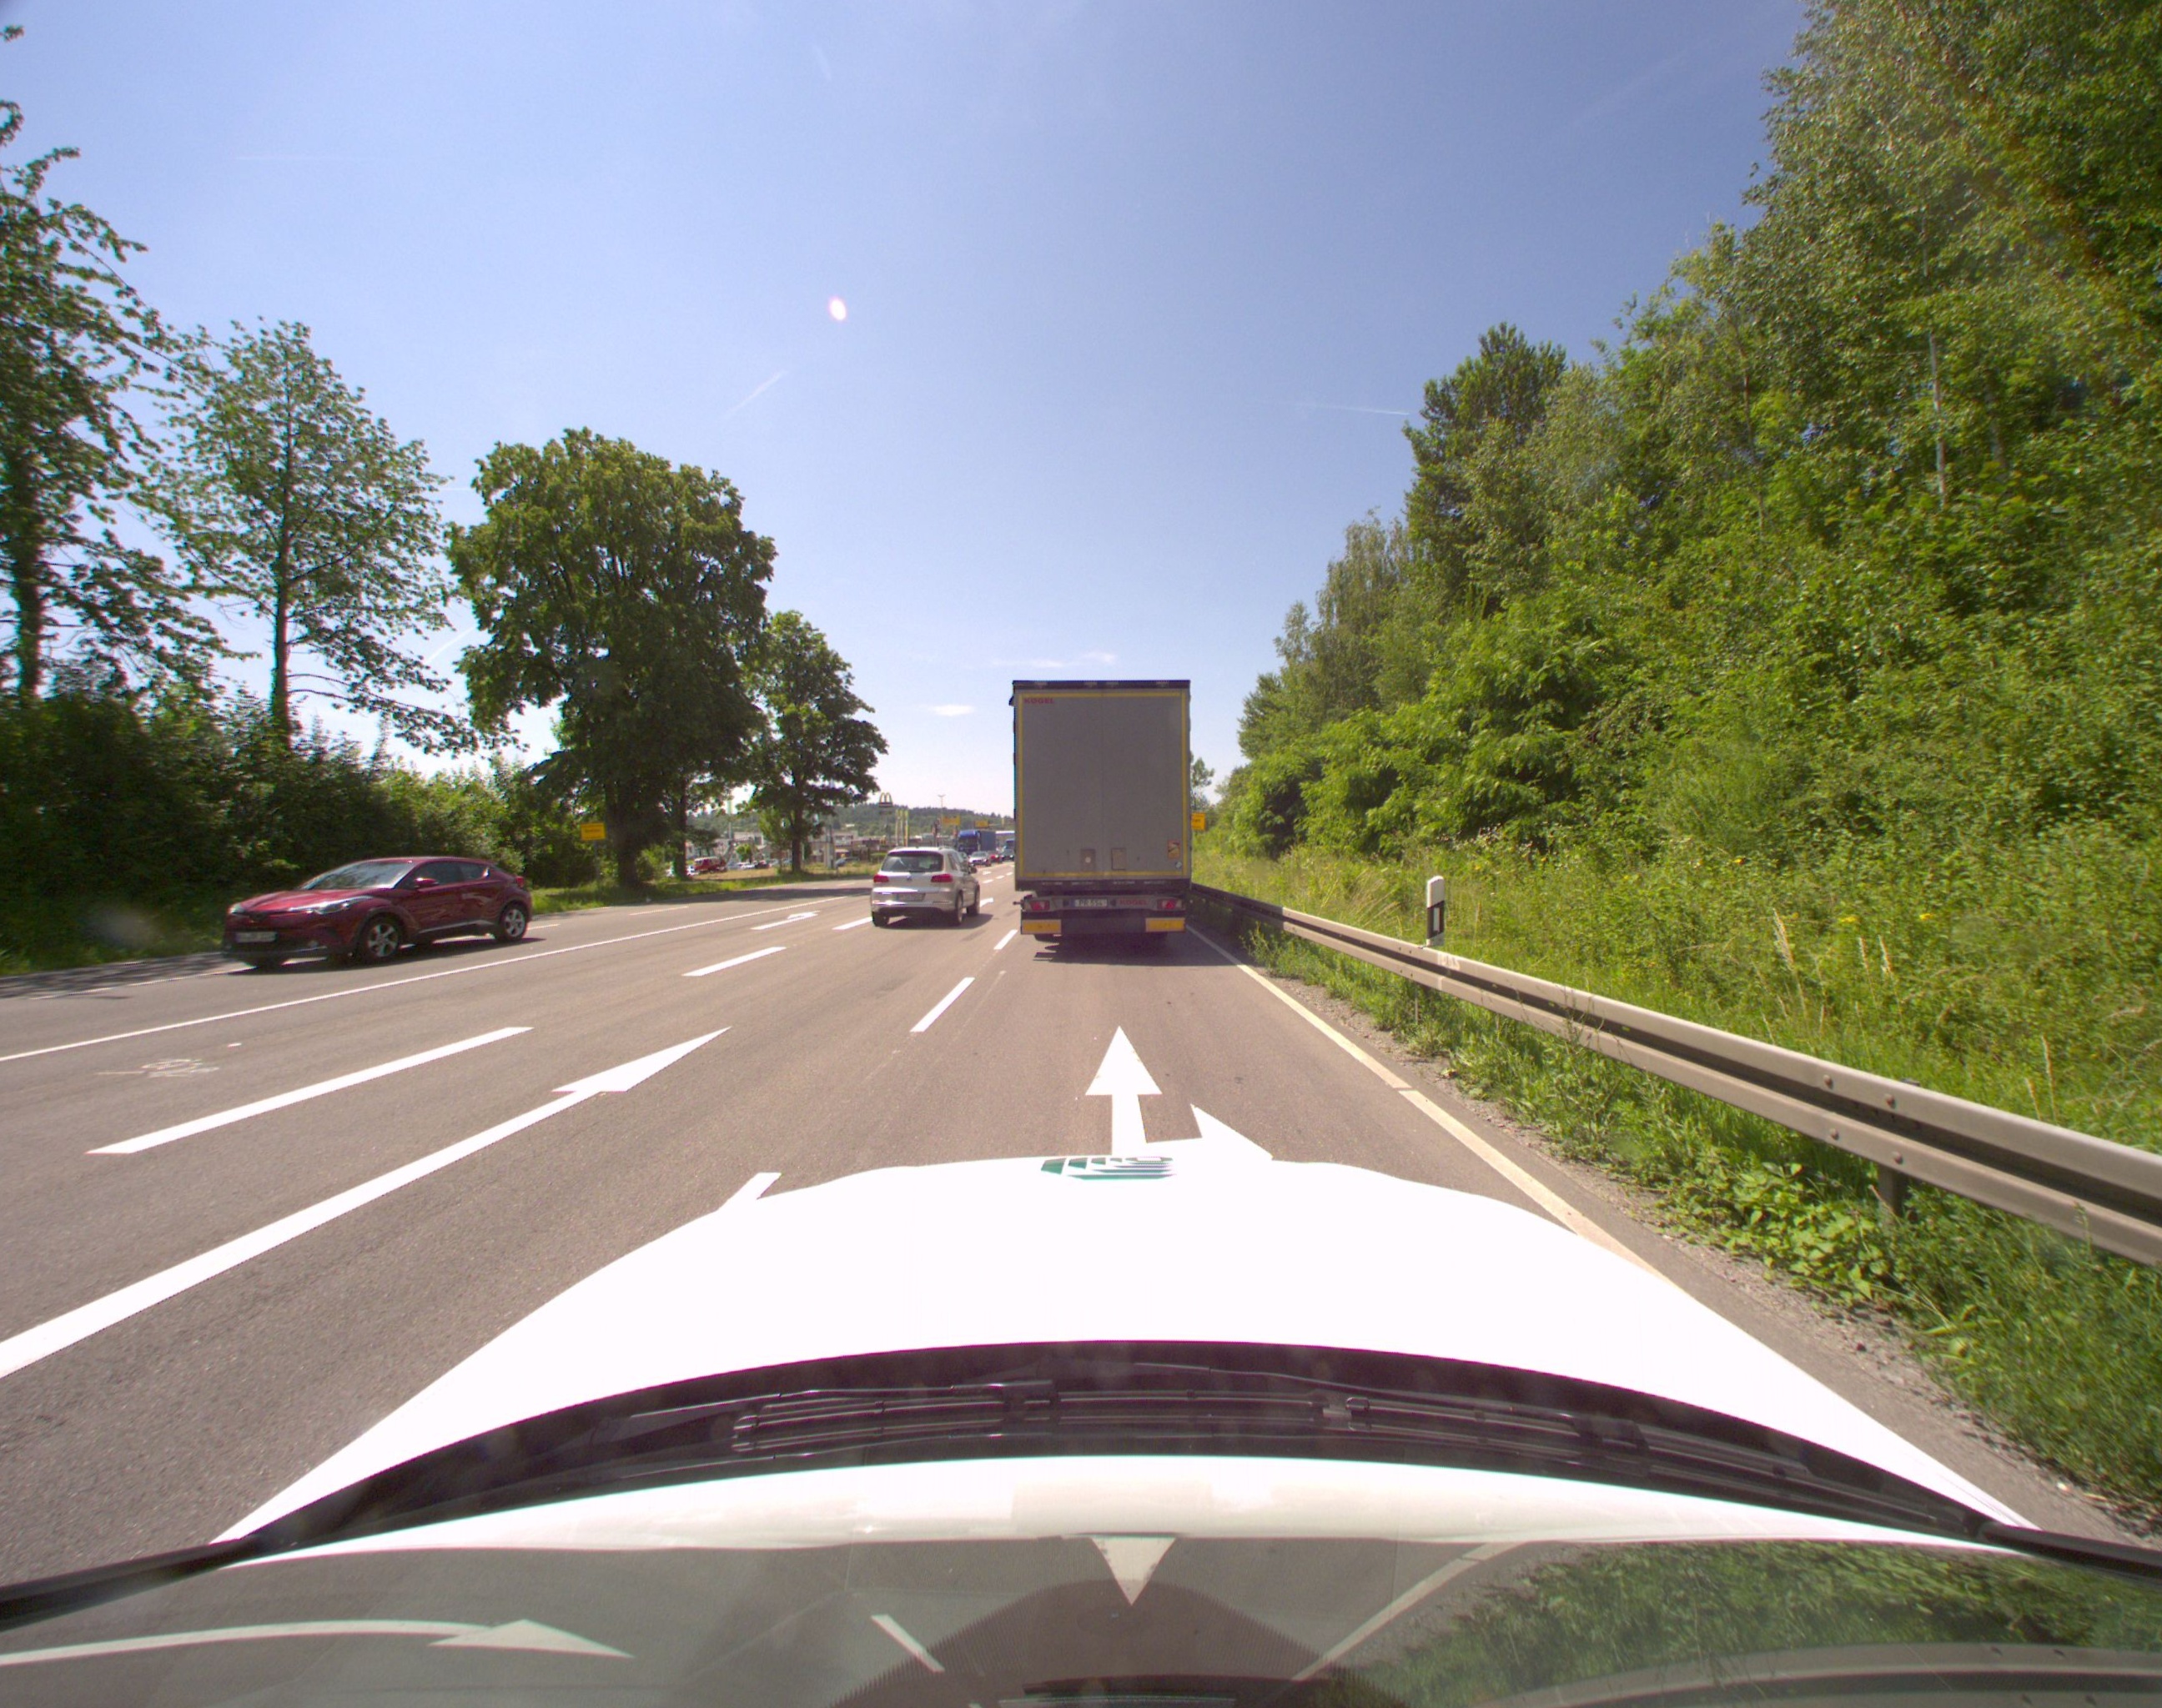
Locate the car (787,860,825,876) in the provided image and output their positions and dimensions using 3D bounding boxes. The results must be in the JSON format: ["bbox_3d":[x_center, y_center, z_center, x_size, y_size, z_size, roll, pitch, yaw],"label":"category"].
[{"bbox_3d":[-28.738,1.414,85.043,3.948,1.618,1.852,-1,0,38],"label":"car"}]

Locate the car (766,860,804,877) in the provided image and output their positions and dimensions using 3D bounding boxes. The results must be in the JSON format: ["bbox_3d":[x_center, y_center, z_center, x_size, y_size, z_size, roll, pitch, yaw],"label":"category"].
[{"bbox_3d":[-30.234,1.456,83.083,3.948,1.618,1.852,-1,0,38],"label":"car"}]

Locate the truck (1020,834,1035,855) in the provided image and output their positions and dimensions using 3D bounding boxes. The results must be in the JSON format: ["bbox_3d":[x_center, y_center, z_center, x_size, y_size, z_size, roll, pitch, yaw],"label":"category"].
[{"bbox_3d":[-11.843,-1.962,178.921,3.141,4.349,17.512,-1,0,-5],"label":"truck"}]

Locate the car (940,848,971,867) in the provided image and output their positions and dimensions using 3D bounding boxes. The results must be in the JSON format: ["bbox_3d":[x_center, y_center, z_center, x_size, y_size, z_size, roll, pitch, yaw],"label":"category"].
[{"bbox_3d":[-9.671,0.295,63.155,1.761,1.386,3.999,0,-1,0],"label":"car"}]

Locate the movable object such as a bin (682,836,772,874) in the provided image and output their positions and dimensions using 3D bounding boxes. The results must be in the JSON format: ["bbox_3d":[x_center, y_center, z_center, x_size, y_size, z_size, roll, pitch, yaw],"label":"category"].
[{"bbox_3d":[-31.987,0.040,73.772,3.013,3.298,6.835,-1,1,41],"label":"movable object such as a bin"}]

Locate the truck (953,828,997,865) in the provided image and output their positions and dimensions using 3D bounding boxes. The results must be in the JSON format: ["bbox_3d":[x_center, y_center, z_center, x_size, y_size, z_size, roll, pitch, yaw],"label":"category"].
[{"bbox_3d":[-13.013,-0.843,101.643,2.958,4.176,16.576,-1,0,1],"label":"truck"}]

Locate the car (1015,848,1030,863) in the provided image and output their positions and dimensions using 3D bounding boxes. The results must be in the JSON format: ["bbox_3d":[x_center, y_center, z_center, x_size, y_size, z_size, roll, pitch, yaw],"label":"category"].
[{"bbox_3d":[-8.354,0.213,116.524,1.766,2.013,4.002,-1,0,2],"label":"car"}]

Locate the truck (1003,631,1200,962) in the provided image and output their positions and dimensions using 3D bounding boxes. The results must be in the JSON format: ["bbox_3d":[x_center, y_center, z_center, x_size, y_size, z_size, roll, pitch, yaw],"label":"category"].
[{"bbox_3d":[0.561,-0.728,19.736,2.745,4.639,16.661,0,-1,2],"label":"truck"}]

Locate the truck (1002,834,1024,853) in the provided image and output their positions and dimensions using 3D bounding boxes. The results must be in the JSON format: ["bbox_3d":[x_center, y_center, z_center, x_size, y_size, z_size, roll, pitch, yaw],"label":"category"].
[{"bbox_3d":[-12.014,-1.811,145.131,2.837,3.351,11.480,-1,0,0],"label":"truck"}]

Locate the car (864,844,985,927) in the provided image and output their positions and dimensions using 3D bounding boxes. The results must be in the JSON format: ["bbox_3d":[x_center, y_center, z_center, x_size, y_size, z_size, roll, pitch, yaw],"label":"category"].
[{"bbox_3d":[-3.402,0.626,18.505,1.798,1.670,4.293,0,0,2],"label":"car"}]

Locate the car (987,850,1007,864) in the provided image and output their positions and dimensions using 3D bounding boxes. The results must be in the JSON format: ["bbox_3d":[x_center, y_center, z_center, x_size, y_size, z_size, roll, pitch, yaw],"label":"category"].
[{"bbox_3d":[-9.276,0.347,90.103,1.635,1.438,4.019,-1,1,2],"label":"car"}]

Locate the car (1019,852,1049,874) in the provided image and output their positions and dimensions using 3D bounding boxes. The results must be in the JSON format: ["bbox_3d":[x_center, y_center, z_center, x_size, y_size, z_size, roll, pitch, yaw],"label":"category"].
[{"bbox_3d":[-3.200,0.592,55.962,1.680,1.398,4.404,-1,0,1],"label":"car"}]

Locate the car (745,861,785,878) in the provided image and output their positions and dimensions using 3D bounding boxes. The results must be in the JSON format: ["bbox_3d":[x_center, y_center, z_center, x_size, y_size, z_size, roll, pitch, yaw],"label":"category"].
[{"bbox_3d":[-31.537,1.566,81.246,3.948,1.651,2.013,-1,0,38],"label":"car"}]

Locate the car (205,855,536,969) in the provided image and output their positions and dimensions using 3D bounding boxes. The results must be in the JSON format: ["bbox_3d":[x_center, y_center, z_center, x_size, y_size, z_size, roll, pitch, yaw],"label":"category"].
[{"bbox_3d":[-10.898,0.792,12.931,1.896,1.508,3.765,-1,0,1],"label":"car"}]

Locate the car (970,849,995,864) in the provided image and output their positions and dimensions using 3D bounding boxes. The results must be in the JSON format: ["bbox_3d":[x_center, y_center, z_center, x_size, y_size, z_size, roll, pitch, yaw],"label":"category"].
[{"bbox_3d":[-9.216,0.265,76.424,1.761,1.386,3.999,0,-1,0],"label":"car"}]

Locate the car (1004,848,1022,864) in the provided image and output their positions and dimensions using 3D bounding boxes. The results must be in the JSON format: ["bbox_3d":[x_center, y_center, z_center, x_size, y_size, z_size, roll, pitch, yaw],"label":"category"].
[{"bbox_3d":[-8.602,0.215,102.679,1.766,2.013,4.002,-1,0,2],"label":"car"}]

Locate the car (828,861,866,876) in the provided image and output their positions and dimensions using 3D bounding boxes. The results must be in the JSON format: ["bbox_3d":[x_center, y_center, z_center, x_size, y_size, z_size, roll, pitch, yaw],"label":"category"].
[{"bbox_3d":[-24.936,1.528,86.665,3.948,1.618,1.852,-1,0,38],"label":"car"}]
